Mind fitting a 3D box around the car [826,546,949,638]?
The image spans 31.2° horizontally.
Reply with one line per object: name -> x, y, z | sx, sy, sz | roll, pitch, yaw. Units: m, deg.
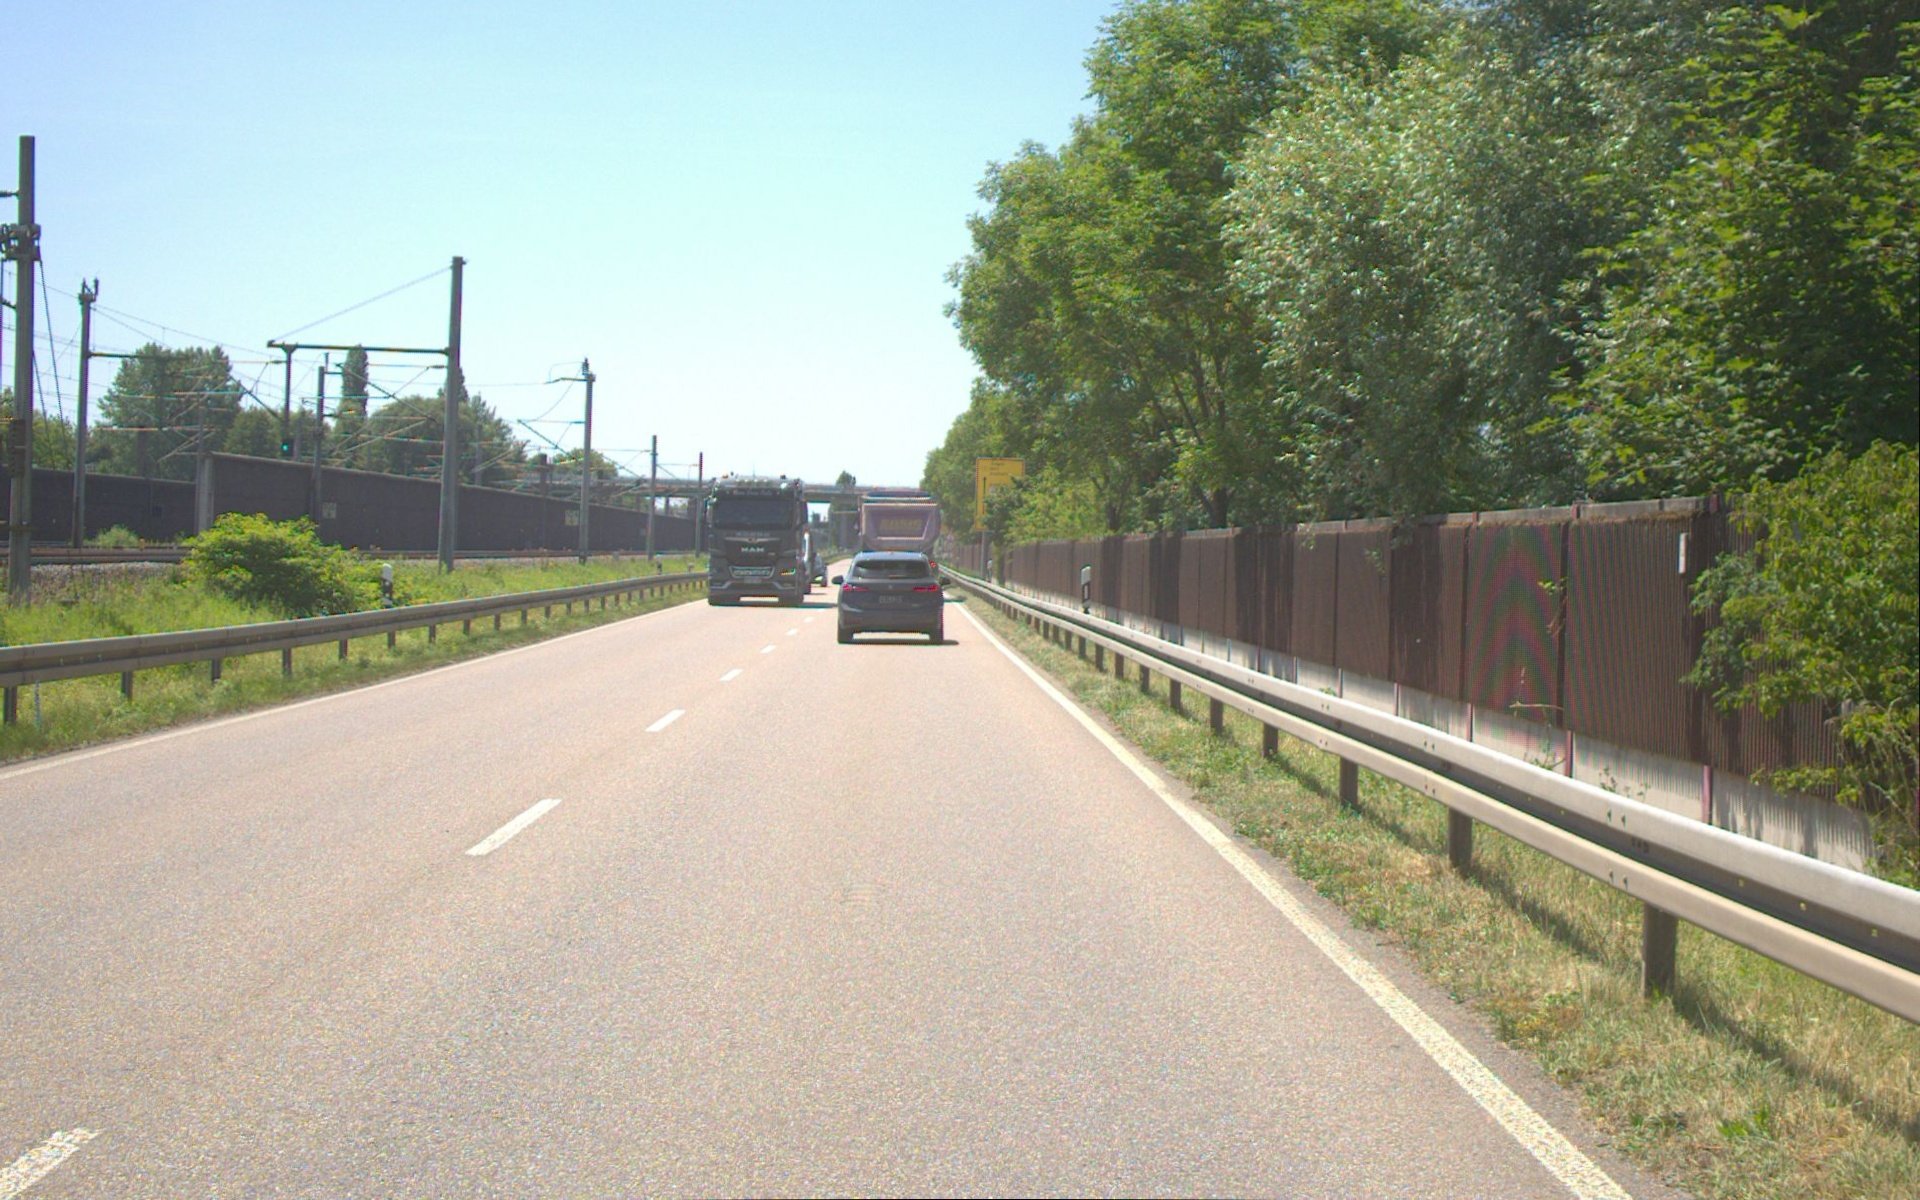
car -> -1.284, -0.159, 59.411 | 1.993, 1.503, 4.001 | 0, 1, -3

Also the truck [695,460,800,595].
truck -> -6.054, -2.091, 99.231 | 2.658, 3.614, 10.979 | 1, 1, -2

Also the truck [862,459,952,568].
truck -> -1.760, -2.812, 113.751 | 2.770, 3.413, 10.820 | 1, 1, -1
